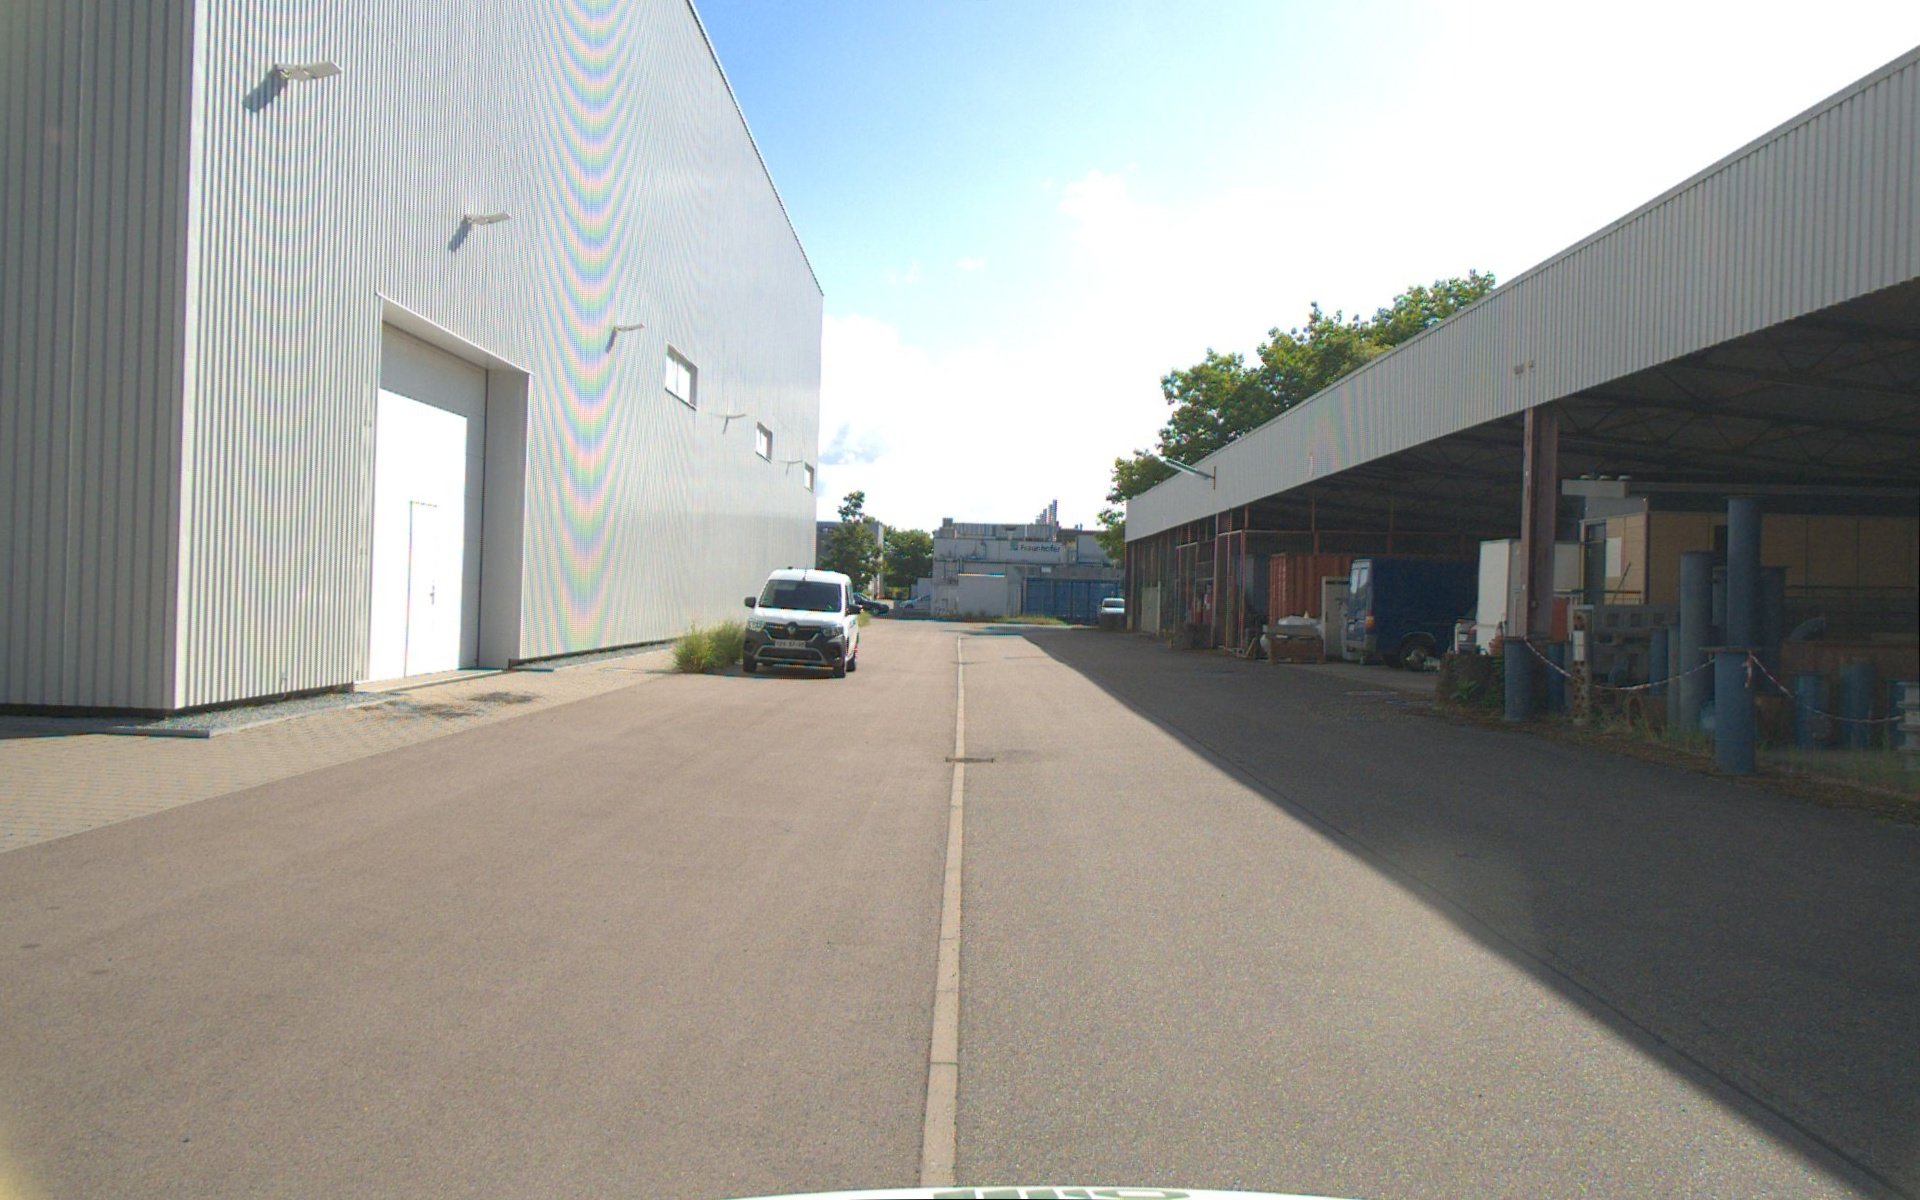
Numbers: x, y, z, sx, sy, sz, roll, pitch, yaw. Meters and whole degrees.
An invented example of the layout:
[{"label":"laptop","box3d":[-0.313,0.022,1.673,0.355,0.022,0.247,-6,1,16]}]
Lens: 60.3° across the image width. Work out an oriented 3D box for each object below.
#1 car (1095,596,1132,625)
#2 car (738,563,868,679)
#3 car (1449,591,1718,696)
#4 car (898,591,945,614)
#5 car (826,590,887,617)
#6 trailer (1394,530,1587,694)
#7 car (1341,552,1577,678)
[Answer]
[{"label":"car","box3d":[9.195,0.635,99.380,1.921,1.592,4.060,3,1,2]},{"label":"car","box3d":[-2.724,0.334,29.542,1.781,1.818,4.405,3,0,0]},{"label":"car","box3d":[10.633,0.750,28.392,3.955,1.551,1.684,3,-2,1]},{"label":"car","box3d":[-3.228,0.210,139.637,3.906,1.626,1.847,3,-2,-1]},{"label":"car","box3d":[-6.970,0.245,111.744,3.906,1.626,1.741,3,-2,-1]},{"label":"trailer","box3d":[8.334,0.195,26.120,2.471,2.441,1.727,1,-1,1]},{"label":"car","box3d":[10.461,0.338,34.913,4.342,2.350,1.915,3,-2,1]}]
